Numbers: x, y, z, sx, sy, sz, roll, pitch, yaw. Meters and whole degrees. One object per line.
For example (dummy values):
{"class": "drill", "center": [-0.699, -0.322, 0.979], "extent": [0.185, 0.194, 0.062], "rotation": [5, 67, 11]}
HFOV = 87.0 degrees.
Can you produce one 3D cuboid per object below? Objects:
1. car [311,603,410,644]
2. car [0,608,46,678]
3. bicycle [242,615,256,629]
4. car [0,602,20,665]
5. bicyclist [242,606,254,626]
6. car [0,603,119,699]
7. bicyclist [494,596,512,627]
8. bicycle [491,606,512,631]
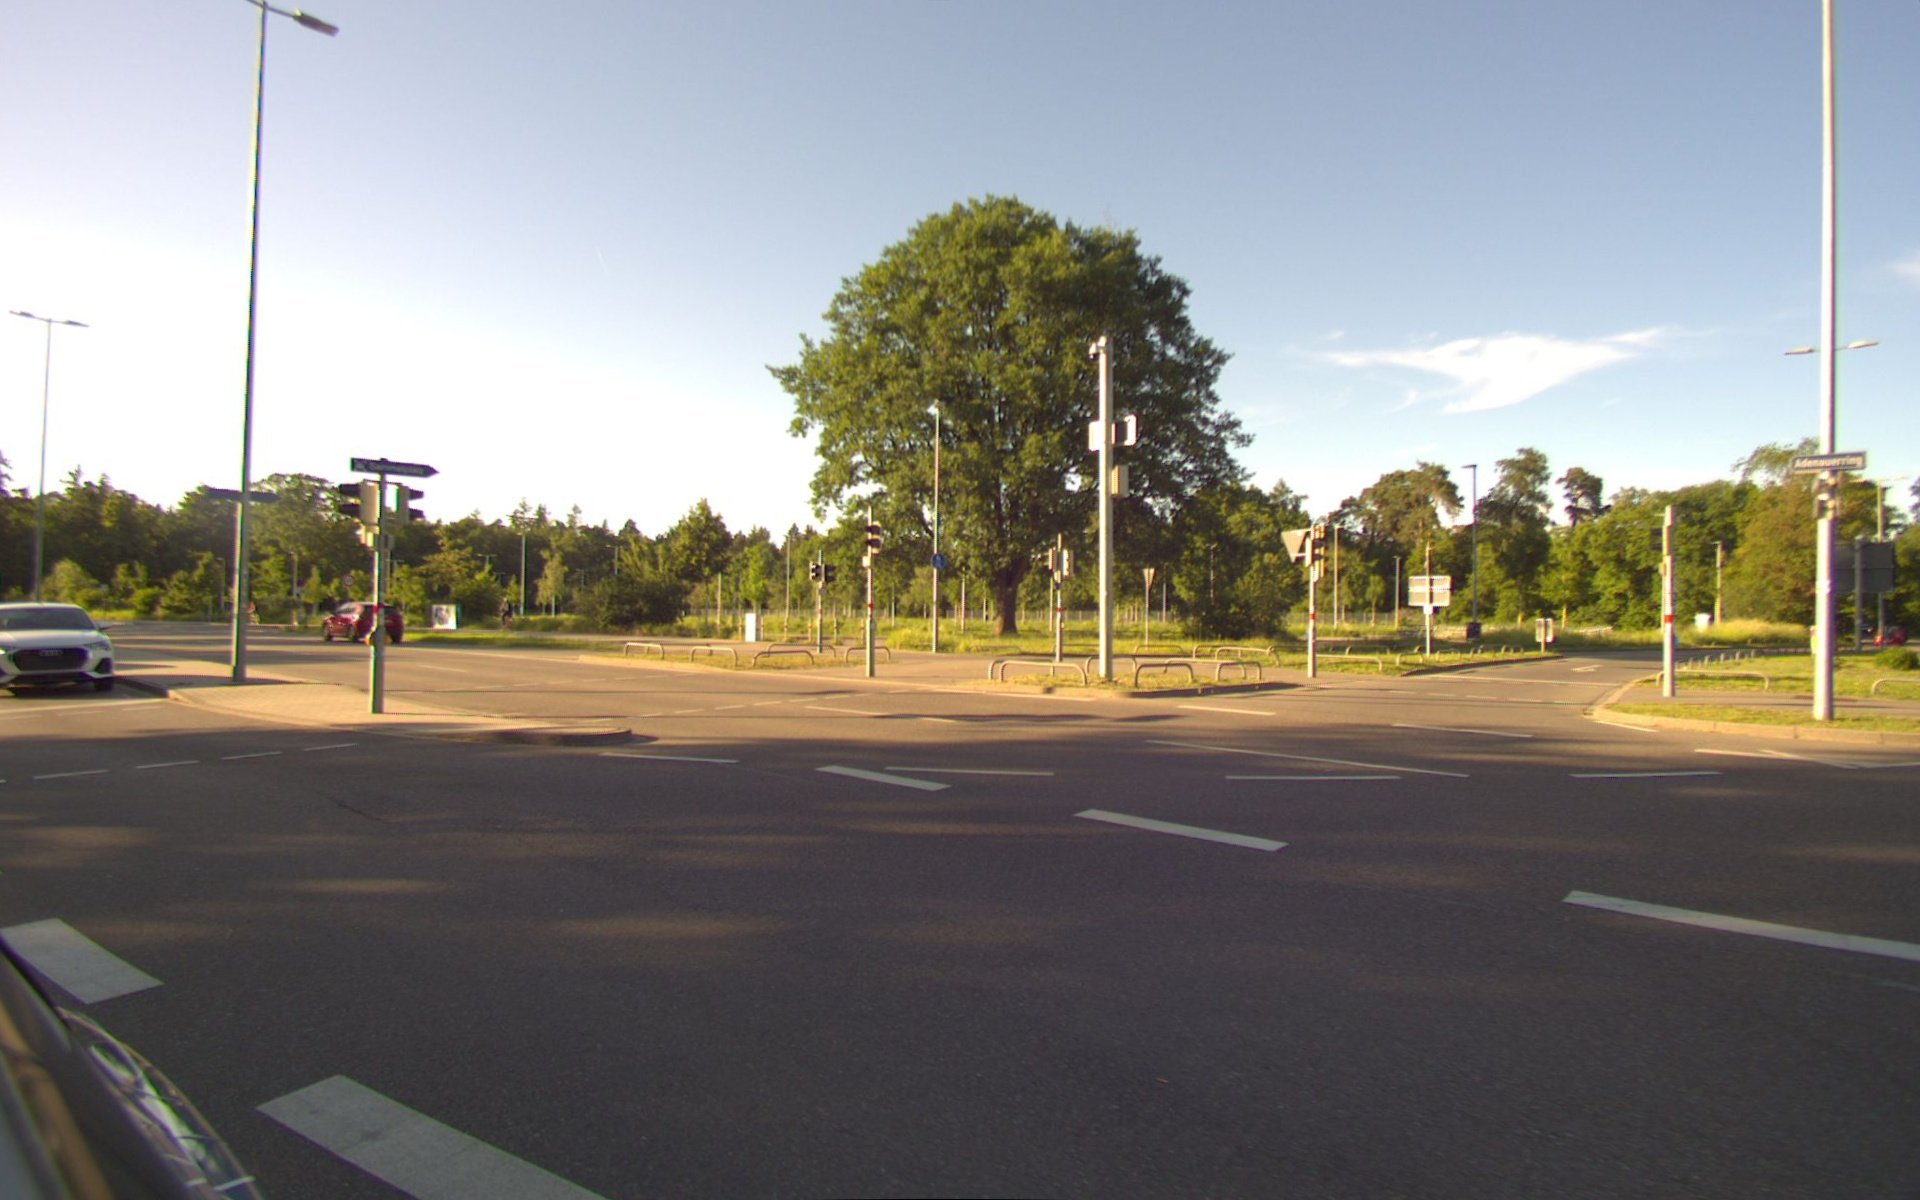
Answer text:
{"class": "car", "center": [-24.568, 0.919, 41.410], "extent": [4.564, 1.565, 1.869], "rotation": [0, 0, 36]}
{"class": "car", "center": [-21.383, 0.906, 22.135], "extent": [4.317, 1.438, 1.639], "rotation": [-1, 0, 42]}
{"class": "bicycle", "center": [-52.785, 1.611, 75.169], "extent": [1.362, 1.027, 0.576], "rotation": [0, 0, 43]}
{"class": "car", "center": [-26.257, 0.861, 26.633], "extent": [4.319, 1.595, 1.774], "rotation": [-1, 0, 41]}
{"class": "bicyclist", "center": [-52.800, 1.176, 75.053], "extent": [0.800, 1.424, 0.585], "rotation": [0, 0, 44]}
{"class": "car", "center": [-16.540, 0.833, 18.041], "extent": [4.299, 1.524, 1.814], "rotation": [-1, 0, 42]}
{"class": "bicyclist", "center": [-24.062, 0.609, 53.249], "extent": [0.672, 1.623, 0.801], "rotation": [-1, 0, -41]}
{"class": "bicycle", "center": [-24.168, 0.974, 53.360], "extent": [0.487, 1.247, 1.797], "rotation": [-1, 0, -41]}
